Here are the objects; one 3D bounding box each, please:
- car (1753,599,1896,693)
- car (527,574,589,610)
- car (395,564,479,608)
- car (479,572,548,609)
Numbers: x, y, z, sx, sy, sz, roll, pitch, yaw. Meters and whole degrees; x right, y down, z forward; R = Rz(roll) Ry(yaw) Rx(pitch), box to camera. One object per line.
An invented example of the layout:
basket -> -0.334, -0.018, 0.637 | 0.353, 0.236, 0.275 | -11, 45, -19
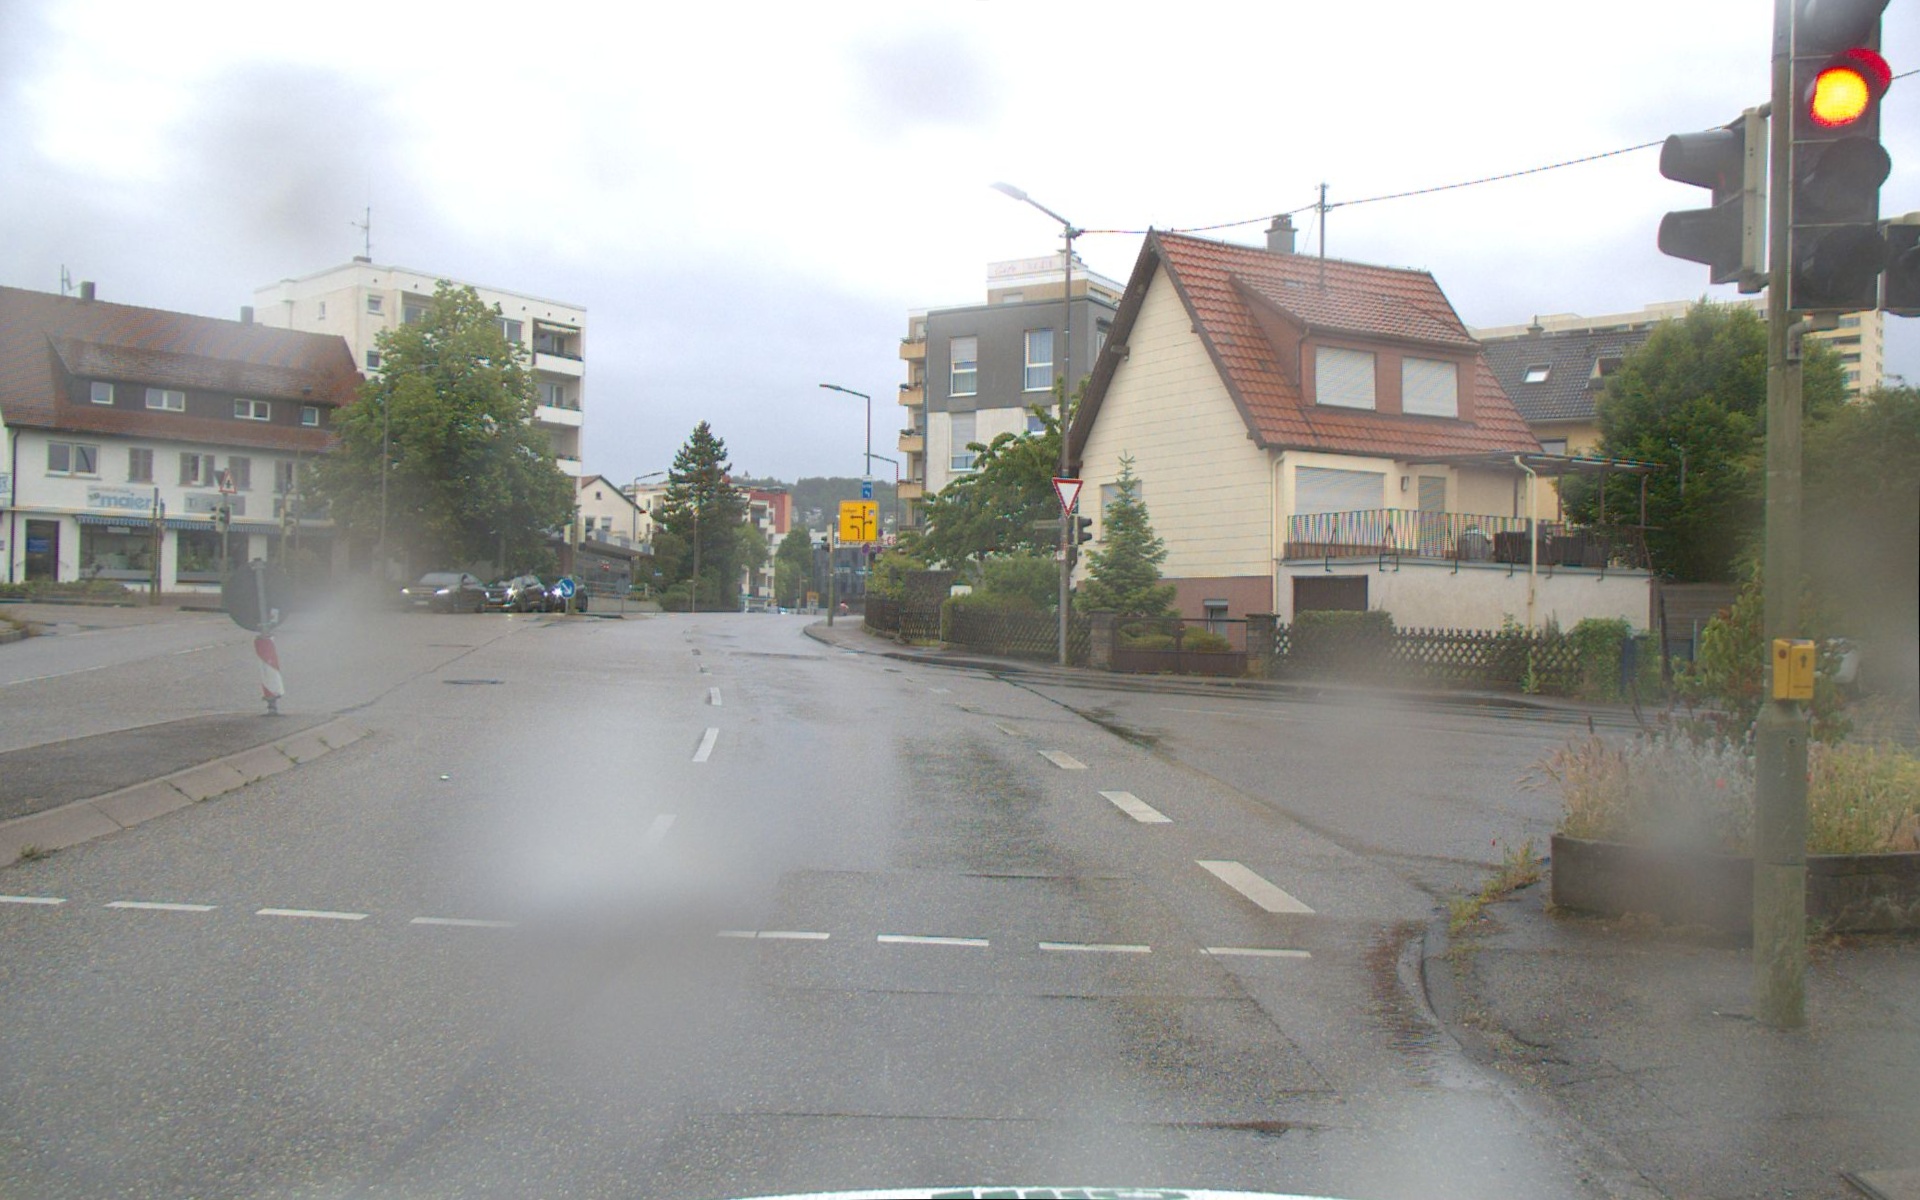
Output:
car -> 15.616, 0.781, 29.796 | 1.710, 1.541, 3.985 | 1, 1, 36
car -> -17.263, -0.351, 71.152 | 1.742, 1.445, 3.830 | 1, 1, -1
car -> -18.254, -0.485, 57.920 | 1.742, 1.445, 3.830 | 1, 1, -1
car -> -17.598, -0.380, 65.321 | 1.680, 1.411, 4.020 | 1, 1, -1
